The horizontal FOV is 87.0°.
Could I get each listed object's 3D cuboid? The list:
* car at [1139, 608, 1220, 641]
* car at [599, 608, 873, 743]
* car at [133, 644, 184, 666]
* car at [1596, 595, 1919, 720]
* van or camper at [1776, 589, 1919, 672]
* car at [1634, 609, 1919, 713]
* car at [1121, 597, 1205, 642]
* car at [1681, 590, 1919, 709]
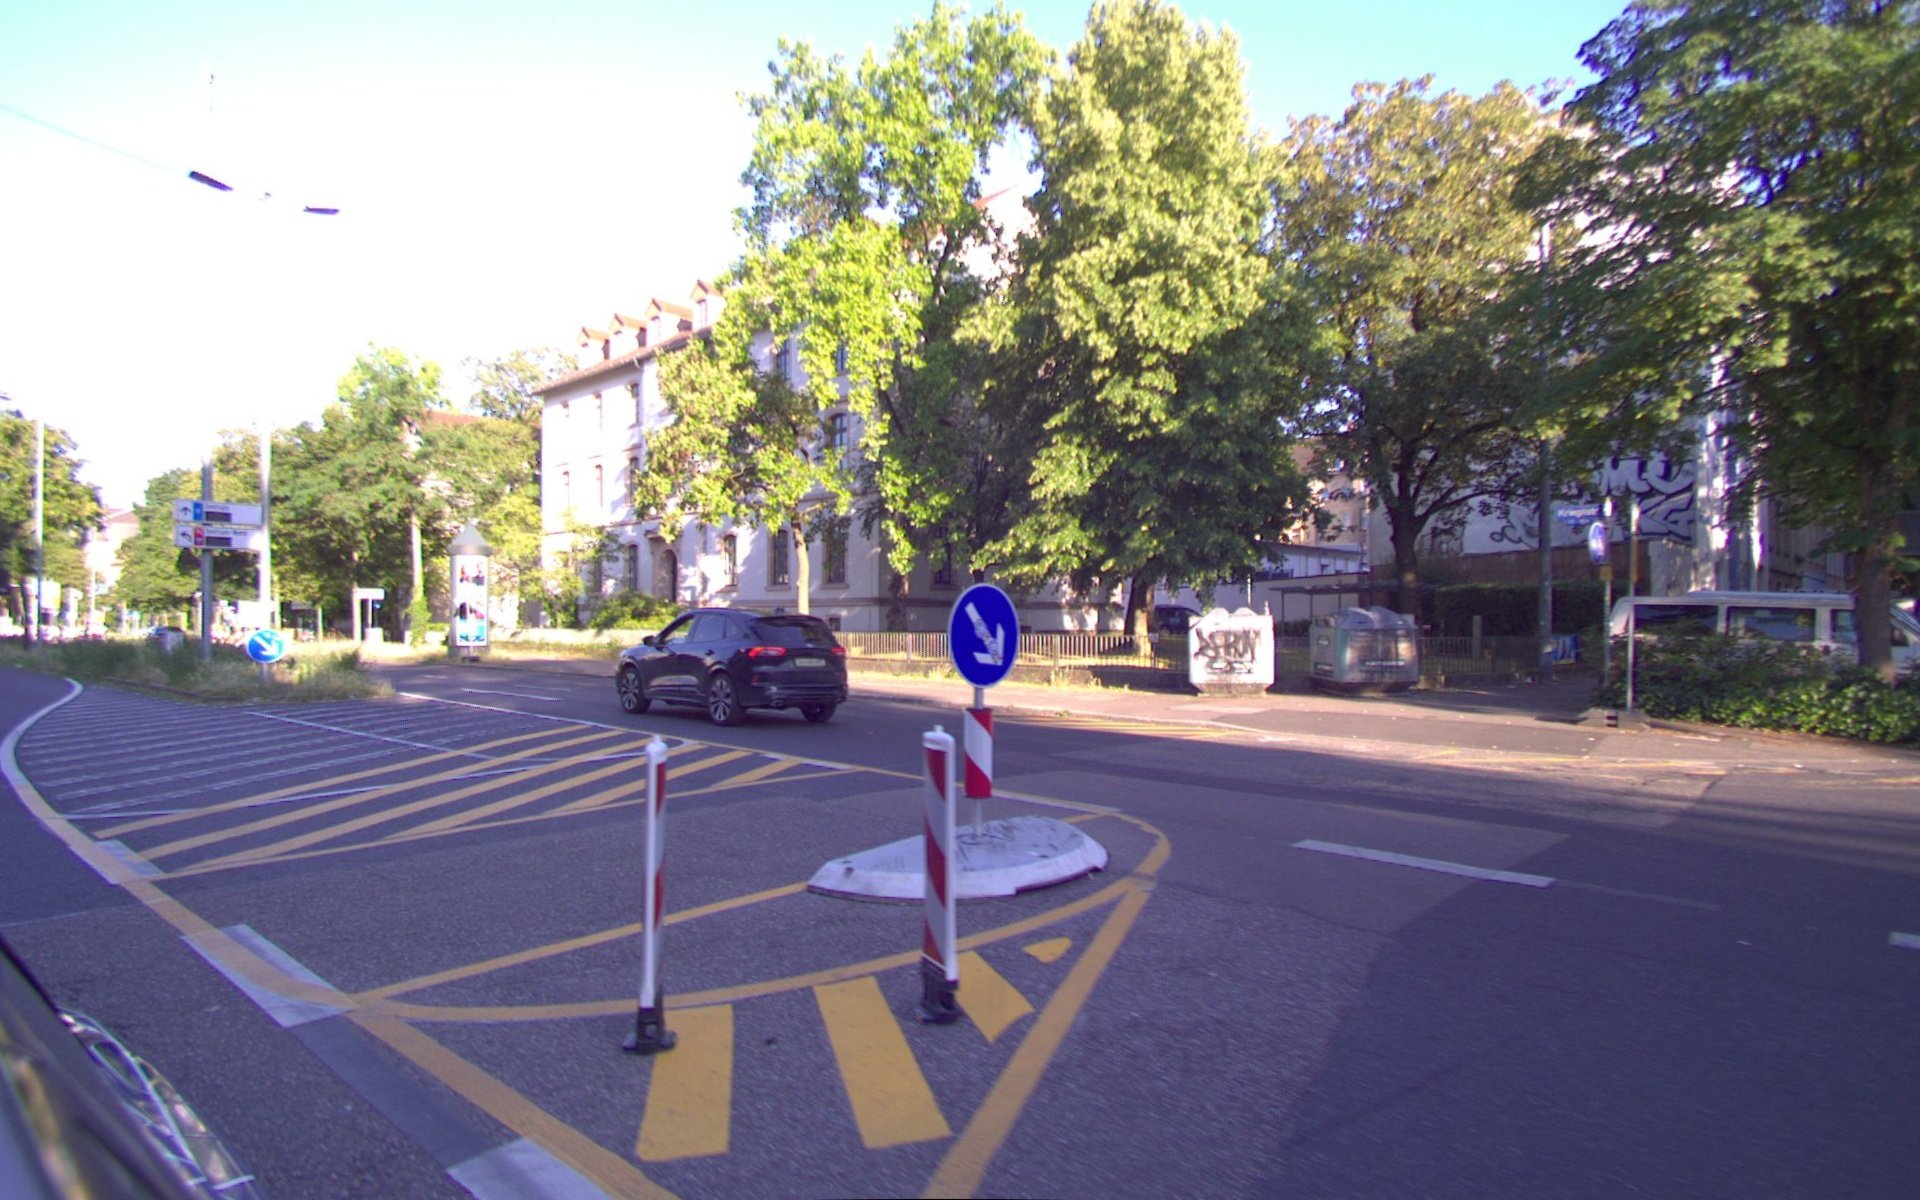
[{"bbox_3d":[12.488,1.391,57.736,4.048,1.842,1.966,0,-1,-9],"label":"car"},{"bbox_3d":[-3.489,1.051,15.182,1.855,1.719,4.570,5,-4,-44],"label":"car"},{"bbox_3d":[-49.956,3.411,63.076,4.006,1.283,1.755,-2,-5,41],"label":"car"},{"bbox_3d":[12.964,0.877,16.624,3.998,1.809,1.799,-2,-1,41],"label":"car"},{"bbox_3d":[29.138,0.933,31.678,5.429,2.490,2.043,-2,-1,44],"label":"van or camper"},{"bbox_3d":[14.755,1.035,18.343,3.998,1.674,1.973,-2,-1,41],"label":"car"},{"bbox_3d":[8.809,0.848,44.121,3.222,1.837,1.862,-2,0,0],"label":"car"},{"bbox_3d":[18.624,0.990,21.427,2.188,2.306,5.104,0,-1,-42],"label":"car"}]
